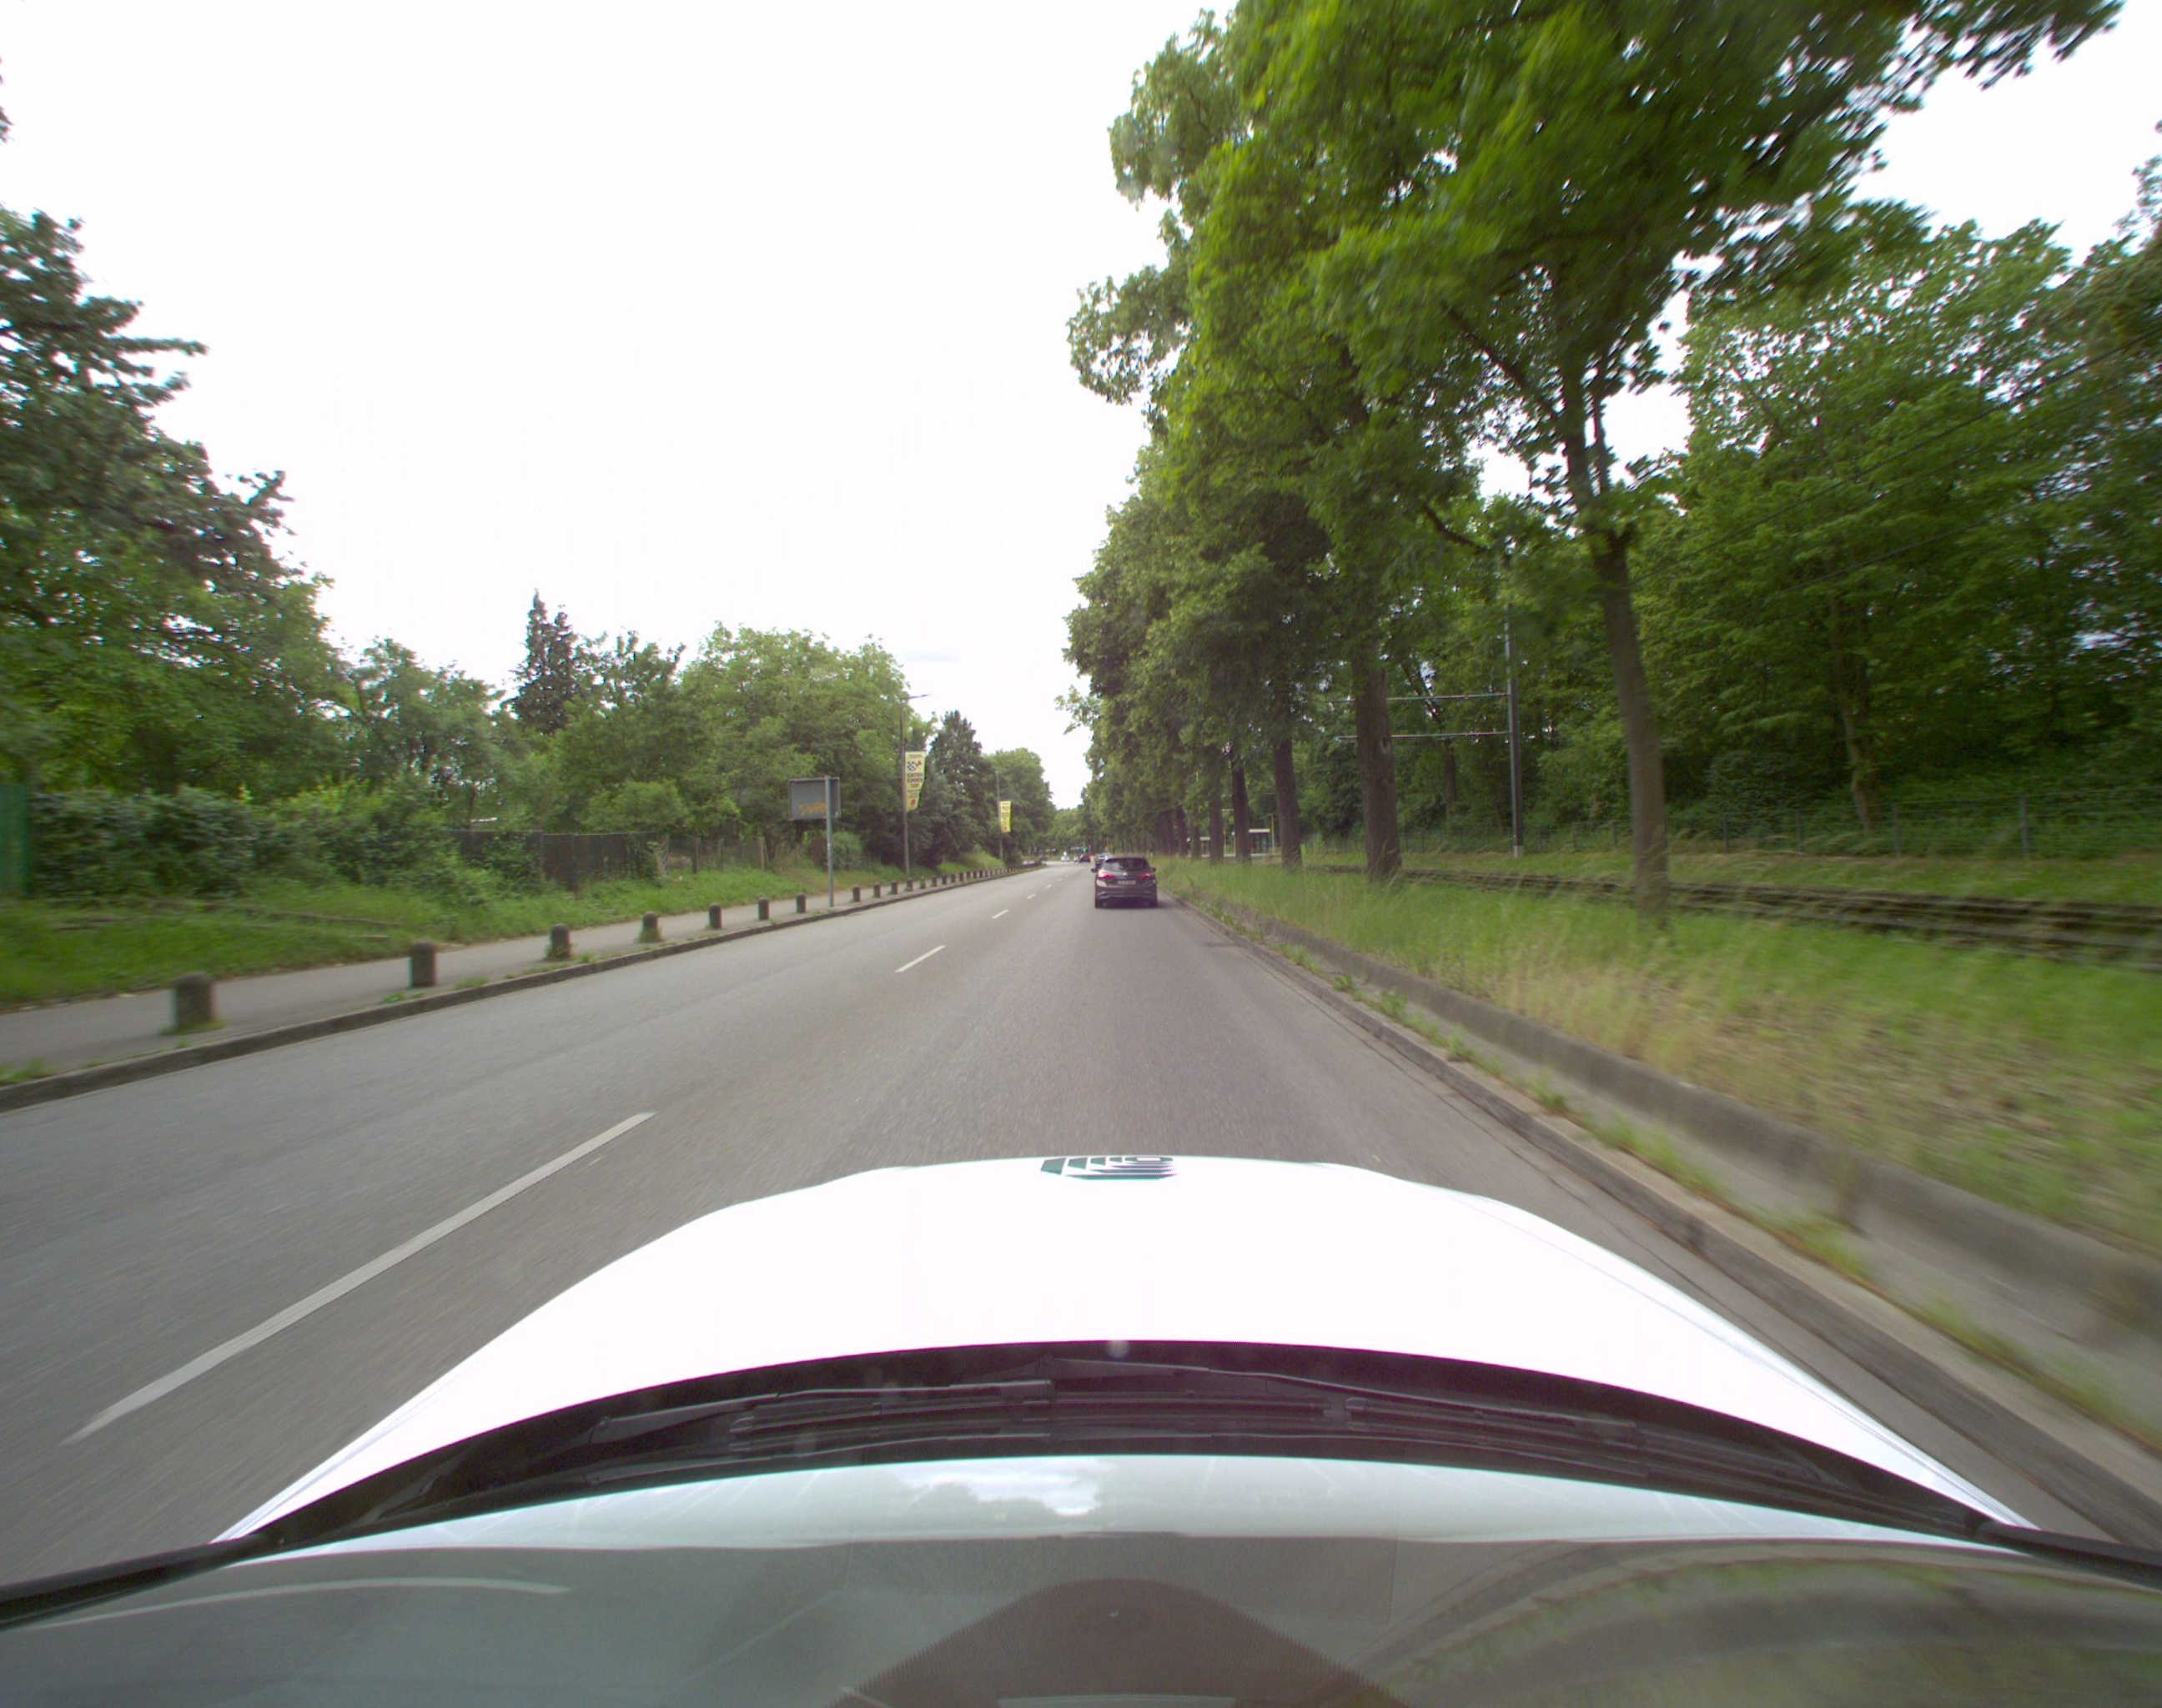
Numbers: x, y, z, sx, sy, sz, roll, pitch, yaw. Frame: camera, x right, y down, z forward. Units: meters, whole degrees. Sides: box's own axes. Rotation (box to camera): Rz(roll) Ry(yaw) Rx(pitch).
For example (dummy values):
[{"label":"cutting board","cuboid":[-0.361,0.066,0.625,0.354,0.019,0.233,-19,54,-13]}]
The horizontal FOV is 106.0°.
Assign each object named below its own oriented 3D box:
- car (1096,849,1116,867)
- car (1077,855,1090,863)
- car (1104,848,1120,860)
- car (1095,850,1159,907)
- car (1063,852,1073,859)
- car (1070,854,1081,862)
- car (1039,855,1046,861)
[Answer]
[{"label":"car","cuboid":[2.224,0.336,72.902,1.724,1.537,3.552,-1,0,1]},{"label":"car","cuboid":[0.420,0.829,138.377,1.561,1.441,3.540,-1,0,-10]},{"label":"car","cuboid":[3.754,-0.016,98.313,1.558,1.441,3.546,-1,0,-4]},{"label":"car","cuboid":[1.296,0.674,24.059,1.724,1.537,3.552,-1,0,1]},{"label":"car","cuboid":[-2.838,0.355,176.034,1.563,1.441,3.536,-1,0,-13]},{"label":"car","cuboid":[-0.979,0.788,154.168,1.561,1.441,3.540,-1,0,-10]},{"label":"car","cuboid":[-9.928,1.077,209.923,1.561,1.441,3.541,-1,0,-8]}]
